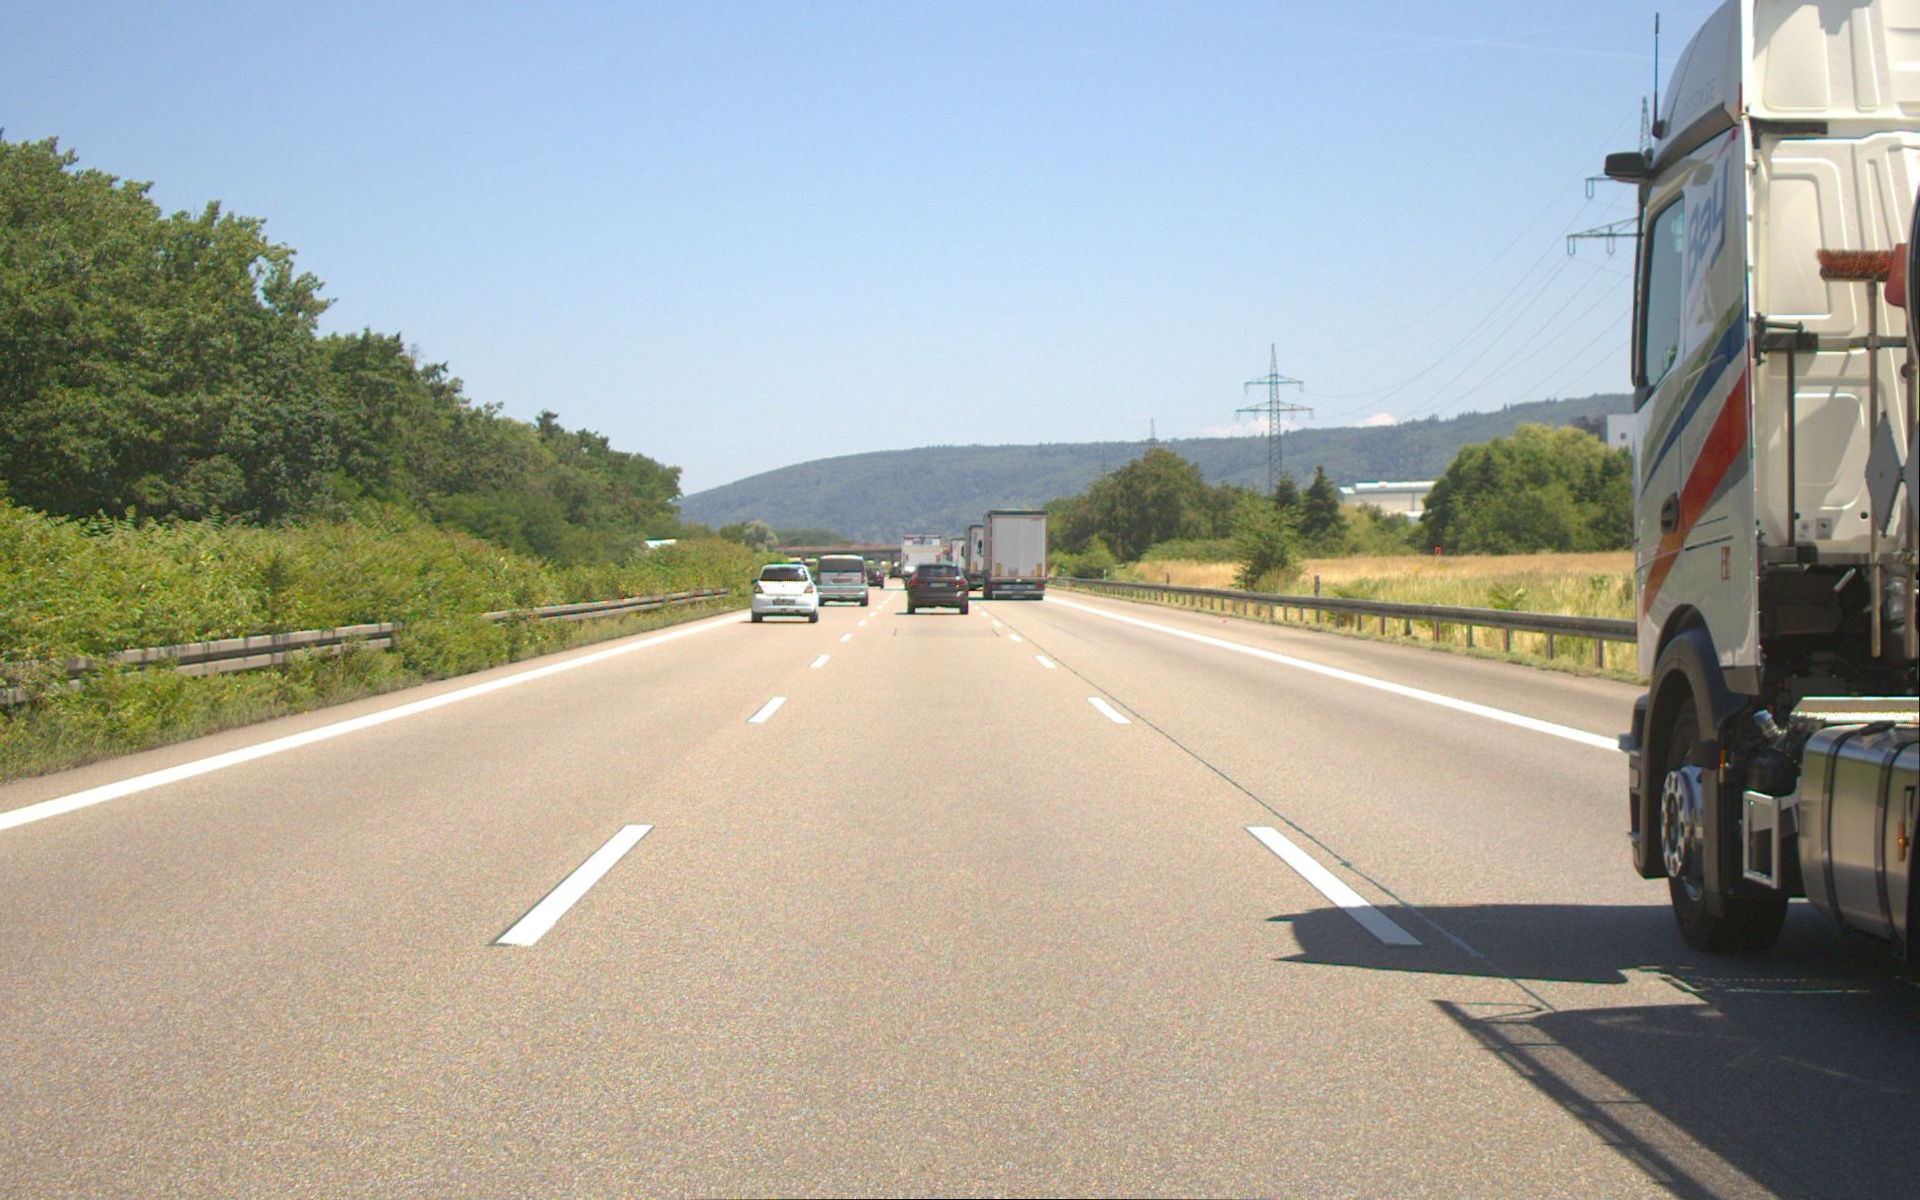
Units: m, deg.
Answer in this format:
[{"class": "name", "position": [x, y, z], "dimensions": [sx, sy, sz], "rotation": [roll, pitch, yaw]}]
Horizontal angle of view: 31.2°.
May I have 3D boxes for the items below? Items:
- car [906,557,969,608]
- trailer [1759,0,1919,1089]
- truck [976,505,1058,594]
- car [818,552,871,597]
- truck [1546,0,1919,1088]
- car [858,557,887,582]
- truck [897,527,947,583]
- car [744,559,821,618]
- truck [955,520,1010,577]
[{"class": "car", "position": [-0.702, -0.563, 107.260], "dimensions": [1.885, 1.510, 4.000], "rotation": [1, 1, 0]}, {"class": "trailer", "position": [4.110, -0.561, 5.988], "dimensions": [2.580, 4.060, 11.104], "rotation": [1, 1, -1]}, {"class": "truck", "position": [2.531, -2.332, 157.231], "dimensions": [3.265, 3.844, 11.632], "rotation": [1, 1, -1]}, {"class": "car", "position": [-4.268, -0.962, 127.812], "dimensions": [1.852, 1.627, 4.000], "rotation": [1, 1, 0]}, {"class": "truck", "position": [3.997, -0.663, 12.155], "dimensions": [2.573, 4.058, 6.393], "rotation": [1, 1, -1]}, {"class": "car", "position": [-5.865, -2.075, 231.807], "dimensions": [1.852, 1.627, 4.000], "rotation": [1, 1, 0]}, {"class": "truck", "position": [-2.511, -2.932, 221.767], "dimensions": [3.097, 3.462, 11.543], "rotation": [1, 1, -1]}, {"class": "car", "position": [-4.633, -0.308, 89.987], "dimensions": [1.806, 1.463, 4.000], "rotation": [1, 1, 0]}, {"class": "truck", "position": [1.379, -3.239, 216.363], "dimensions": [3.097, 3.462, 11.543], "rotation": [1, 1, -1]}]
